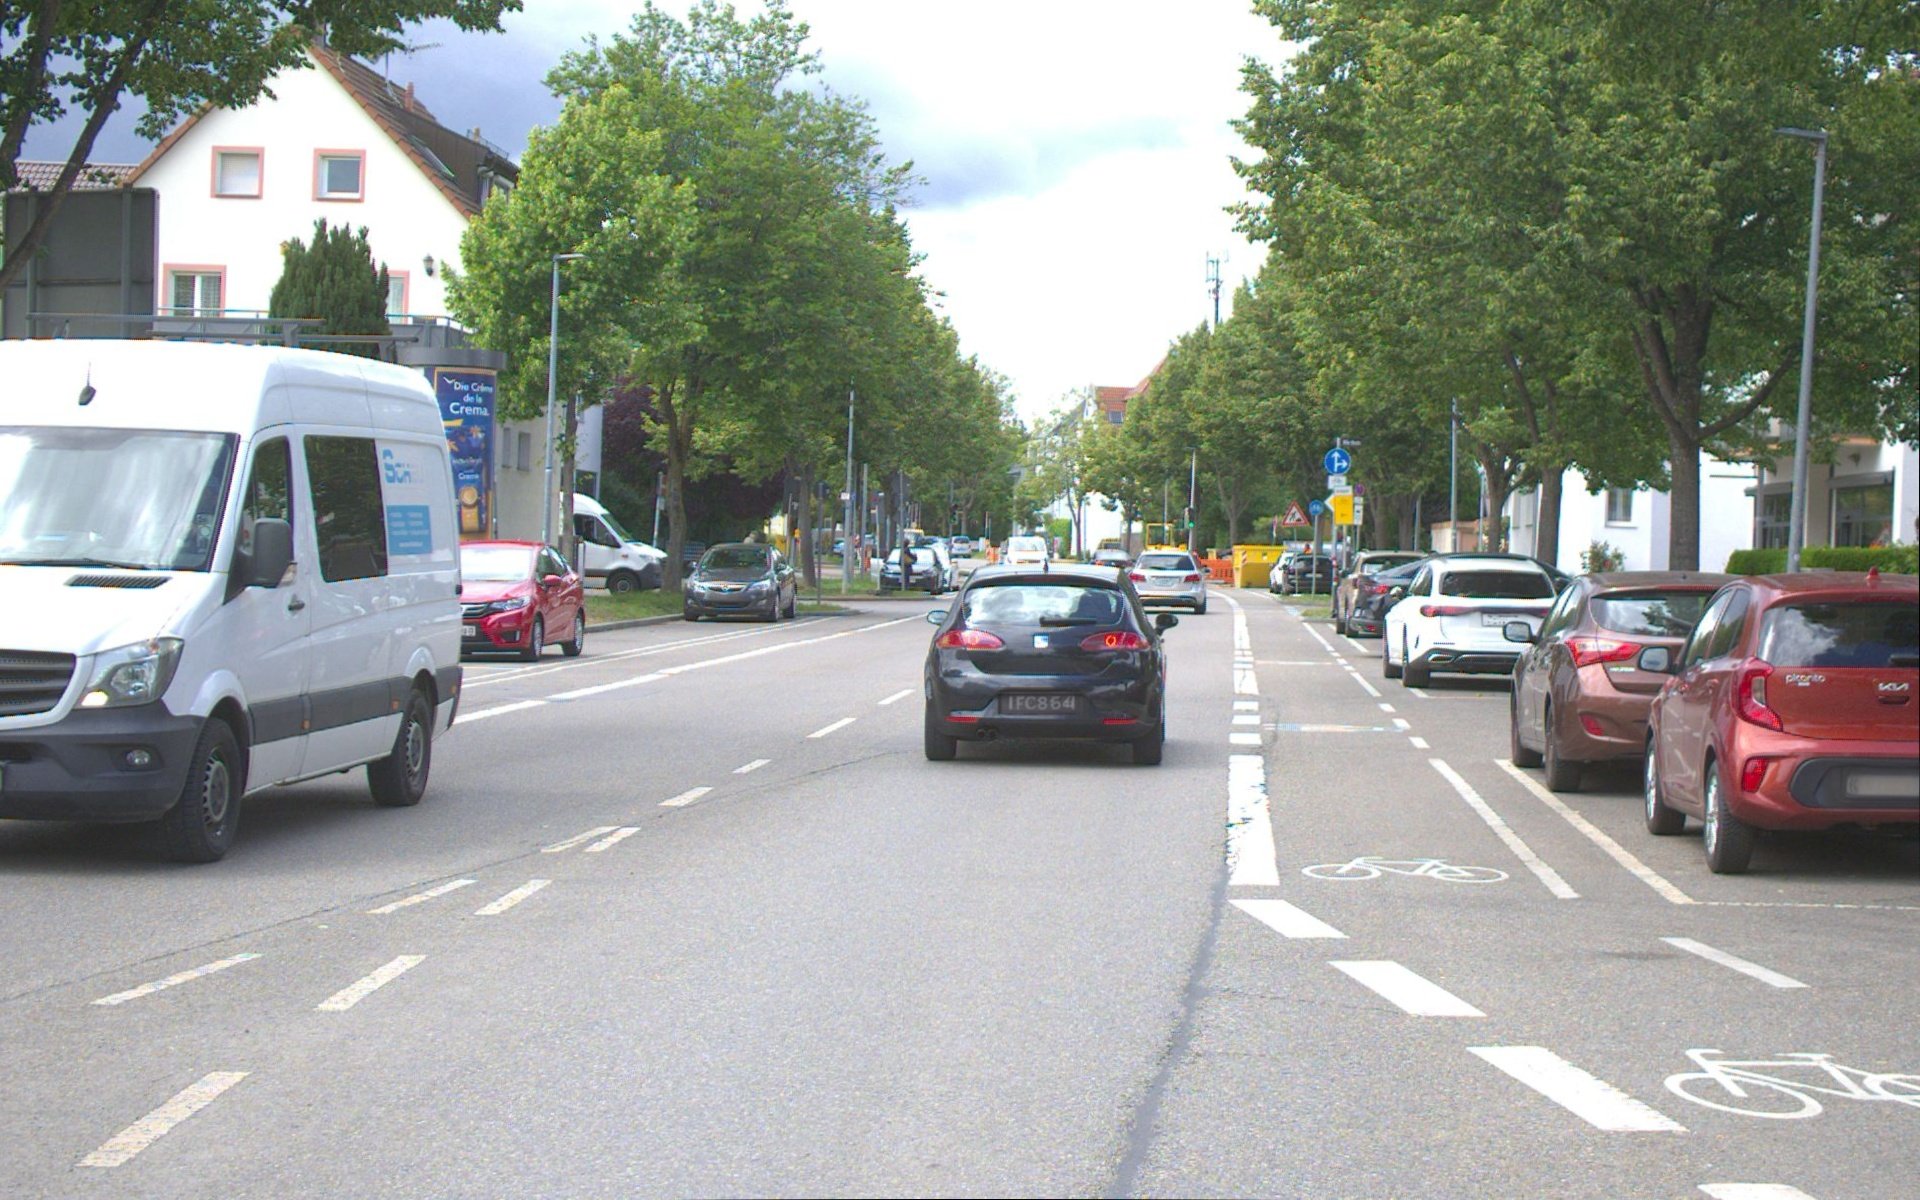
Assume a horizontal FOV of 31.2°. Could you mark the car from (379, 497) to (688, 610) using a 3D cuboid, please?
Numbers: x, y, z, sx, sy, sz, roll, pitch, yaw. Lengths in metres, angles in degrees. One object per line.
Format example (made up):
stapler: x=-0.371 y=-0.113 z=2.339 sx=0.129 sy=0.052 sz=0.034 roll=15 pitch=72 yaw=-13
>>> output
car: x=-10.480 y=-1.148 z=84.883 sx=7.289 sy=2.585 sz=2.220 roll=1 pitch=1 yaw=1

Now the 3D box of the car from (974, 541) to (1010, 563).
car: x=2.089 y=-3.170 z=225.625 sx=1.809 sy=1.410 sz=3.694 roll=1 pitch=1 yaw=-7

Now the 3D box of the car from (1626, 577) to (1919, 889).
car: x=4.547 y=0.636 z=18.107 sx=1.565 sy=1.450 sz=3.668 roll=2 pitch=0 yaw=4

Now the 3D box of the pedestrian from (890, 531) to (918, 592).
pedestrian: x=-1.574 y=-1.093 z=96.380 sx=0.542 sy=1.675 sz=0.750 roll=3 pitch=2 yaw=12

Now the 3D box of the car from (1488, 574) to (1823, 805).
car: x=4.735 y=0.554 z=23.925 sx=1.653 sy=1.411 sz=4.177 roll=0 pitch=1 yaw=3

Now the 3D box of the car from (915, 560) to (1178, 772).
car: x=0.664 y=0.438 z=25.964 sx=1.819 sy=1.433 sz=3.740 roll=1 pitch=1 yaw=2

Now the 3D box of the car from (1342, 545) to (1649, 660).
car: x=7.827 y=0.022 z=50.493 sx=4.217 sy=1.632 sz=1.693 roll=0 pitch=1 yaw=-1

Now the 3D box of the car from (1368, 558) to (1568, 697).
car: x=5.879 y=0.273 z=40.302 sx=1.805 sy=1.470 sz=4.812 roll=2 pitch=1 yaw=3

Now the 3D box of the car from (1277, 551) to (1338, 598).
car: x=11.227 y=-0.833 z=111.341 sx=1.706 sy=1.449 sz=4.616 roll=1 pitch=1 yaw=3

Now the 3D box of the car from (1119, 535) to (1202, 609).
car: x=4.746 y=-0.675 z=81.294 sx=1.906 sy=1.680 sz=3.739 roll=1 pitch=1 yaw=4

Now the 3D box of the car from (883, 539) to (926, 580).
car: x=-3.117 y=-2.287 z=193.020 sx=2.092 sy=2.167 sz=5.045 roll=1 pitch=1 yaw=-4

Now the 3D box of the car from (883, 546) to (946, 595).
car: x=-1.361 y=-0.912 z=104.439 sx=1.643 sy=1.415 sz=4.020 roll=1 pitch=1 yaw=3

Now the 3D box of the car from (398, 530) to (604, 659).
car: x=-5.879 y=-0.100 z=44.470 sx=1.685 sy=1.536 sz=4.131 roll=2 pitch=1 yaw=6

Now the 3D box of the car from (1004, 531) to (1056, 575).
car: x=3.027 y=-2.024 z=148.811 sx=1.966 sy=1.824 sz=4.818 roll=1 pitch=1 yaw=4

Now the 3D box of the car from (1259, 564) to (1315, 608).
car: x=11.487 y=-0.501 z=120.979 sx=1.672 sy=1.457 sz=4.000 roll=1 pitch=1 yaw=1

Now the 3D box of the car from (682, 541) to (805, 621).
car: x=-4.167 y=-0.391 z=66.739 sx=1.731 sy=1.464 sz=4.301 roll=1 pitch=1 yaw=5

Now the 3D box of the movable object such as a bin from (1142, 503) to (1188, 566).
movable object such as a bin: x=8.556 y=-2.726 z=143.574 sx=1.768 sy=2.565 sz=3.740 roll=2 pitch=1 yaw=2

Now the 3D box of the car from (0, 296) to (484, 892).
car: x=-4.278 y=-0.095 z=18.433 sx=2.019 sy=2.665 sz=5.804 roll=2 pitch=1 yaw=6

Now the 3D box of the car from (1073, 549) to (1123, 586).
car: x=5.386 y=-1.297 z=134.571 sx=1.810 sy=1.370 sz=3.693 roll=1 pitch=1 yaw=0

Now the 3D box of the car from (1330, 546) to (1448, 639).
car: x=7.731 y=-0.171 z=62.219 sx=1.722 sy=1.575 sz=4.061 roll=1 pitch=1 yaw=2
